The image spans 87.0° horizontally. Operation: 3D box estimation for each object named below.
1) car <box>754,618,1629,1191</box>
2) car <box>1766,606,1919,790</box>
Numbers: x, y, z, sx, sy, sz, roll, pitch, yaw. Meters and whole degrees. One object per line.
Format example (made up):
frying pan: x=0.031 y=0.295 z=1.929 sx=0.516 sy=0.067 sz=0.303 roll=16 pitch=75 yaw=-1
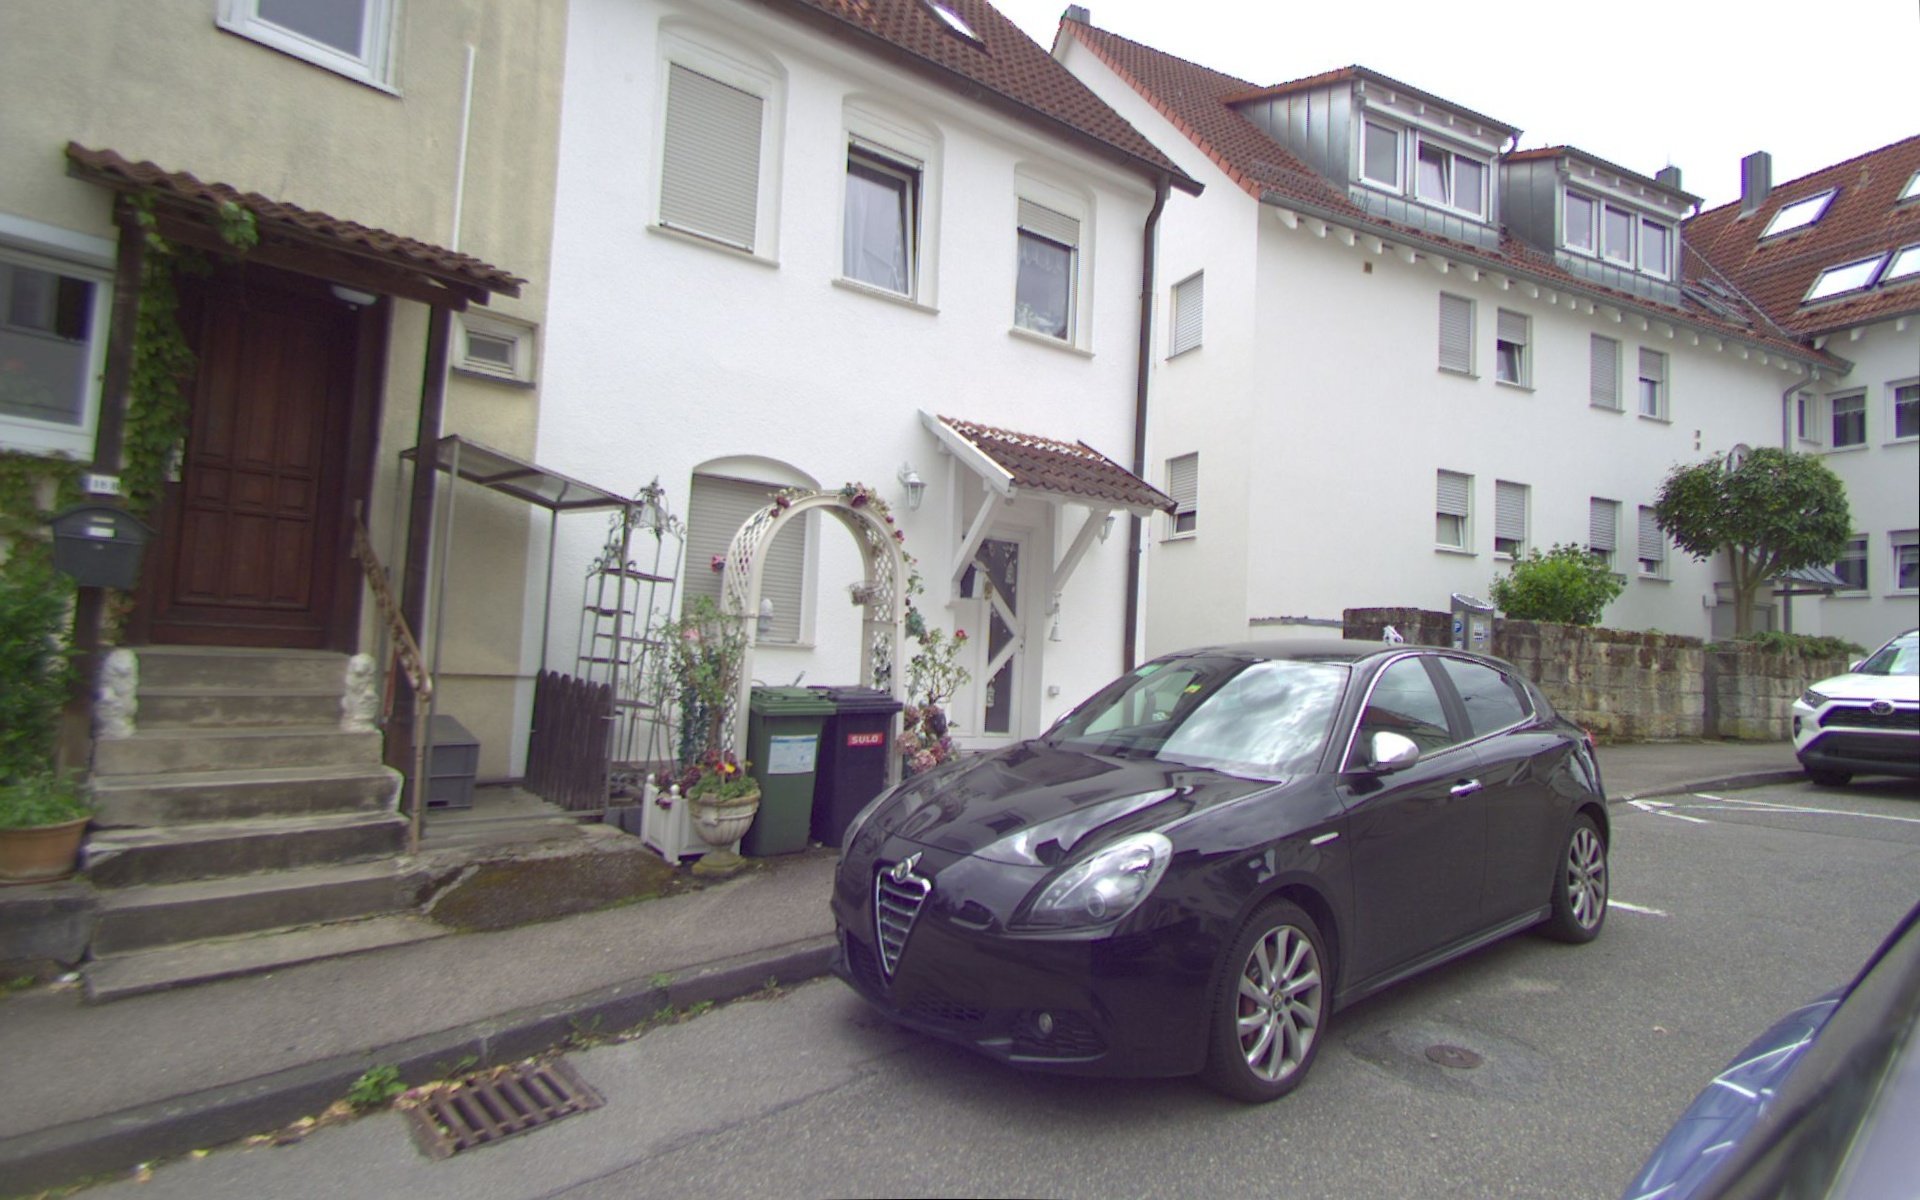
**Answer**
car: x=1.264 y=0.835 z=4.474 sx=3.930 sy=1.425 sz=1.721 roll=2 pitch=-3 yaw=-39
car: x=10.594 y=0.985 z=10.324 sx=4.368 sy=1.661 sz=1.954 roll=3 pitch=-4 yaw=-26
